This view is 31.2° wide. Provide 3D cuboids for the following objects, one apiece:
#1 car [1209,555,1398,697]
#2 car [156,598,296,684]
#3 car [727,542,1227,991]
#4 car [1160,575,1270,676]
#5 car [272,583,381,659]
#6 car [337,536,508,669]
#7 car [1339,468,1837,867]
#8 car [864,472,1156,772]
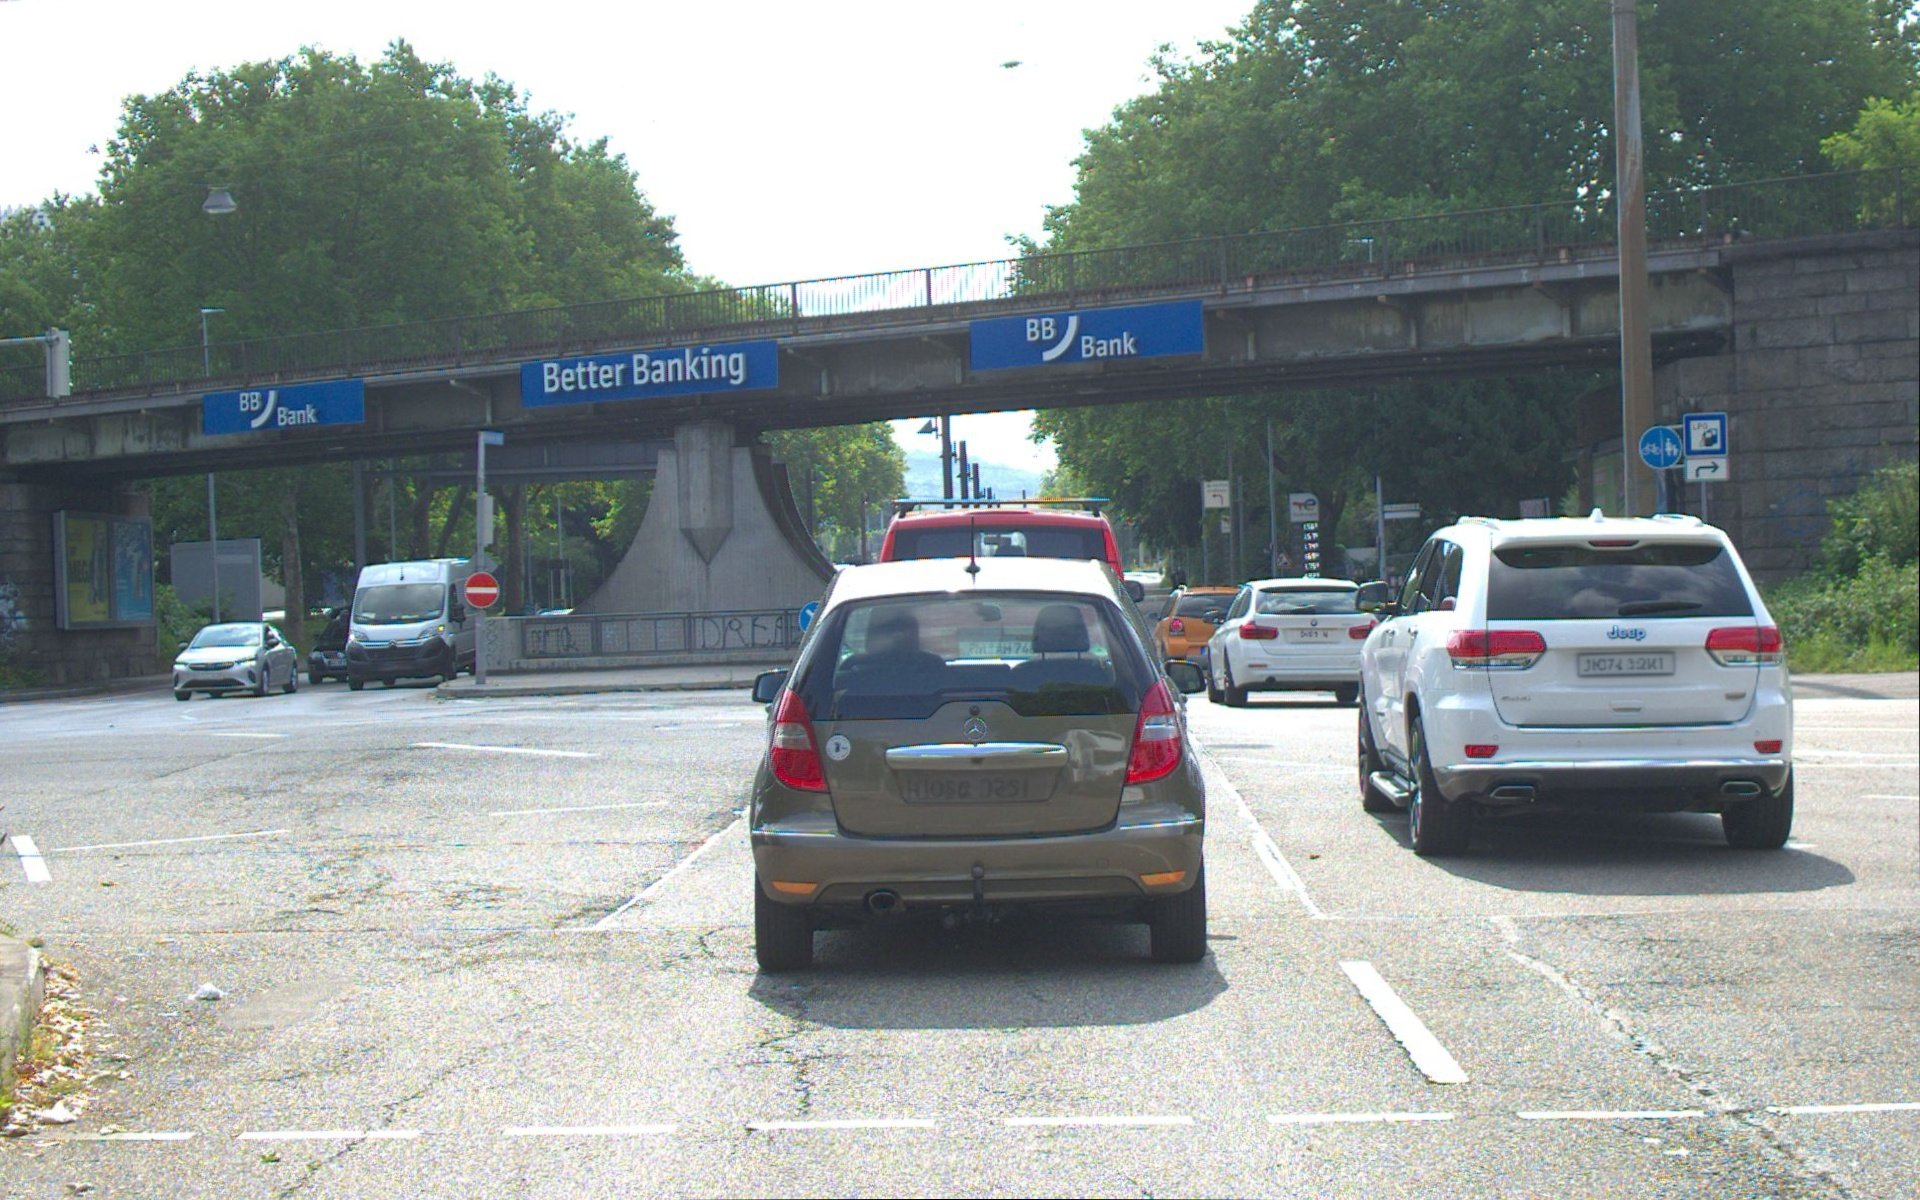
[{"bbox_3d":[3.843,0.276,38.980,1.852,1.516,3.616,1,0,2],"label":"car"},{"bbox_3d":[-14.053,0.763,66.006,1.702,1.471,4.000,-3,1,1],"label":"car"},{"bbox_3d":[0.111,0.585,14.432,1.792,1.603,3.799,-1,1,2],"label":"car"},{"bbox_3d":[4.001,0.391,54.372,1.544,1.516,3.616,1,0,2],"label":"car"},{"bbox_3d":[-14.283,0.448,77.709,1.765,1.578,4.664,-3,1,-3],"label":"car"},{"bbox_3d":[-10.654,0.007,68.570,2.258,2.518,5.626,0,1,3],"label":"car"},{"bbox_3d":[3.292,0.279,18.934,1.995,1.895,4.509,-1,1,2],"label":"car"},{"bbox_3d":[0.394,0.083,25.456,1.955,2.010,4.677,0,2,2],"label":"car"}]
